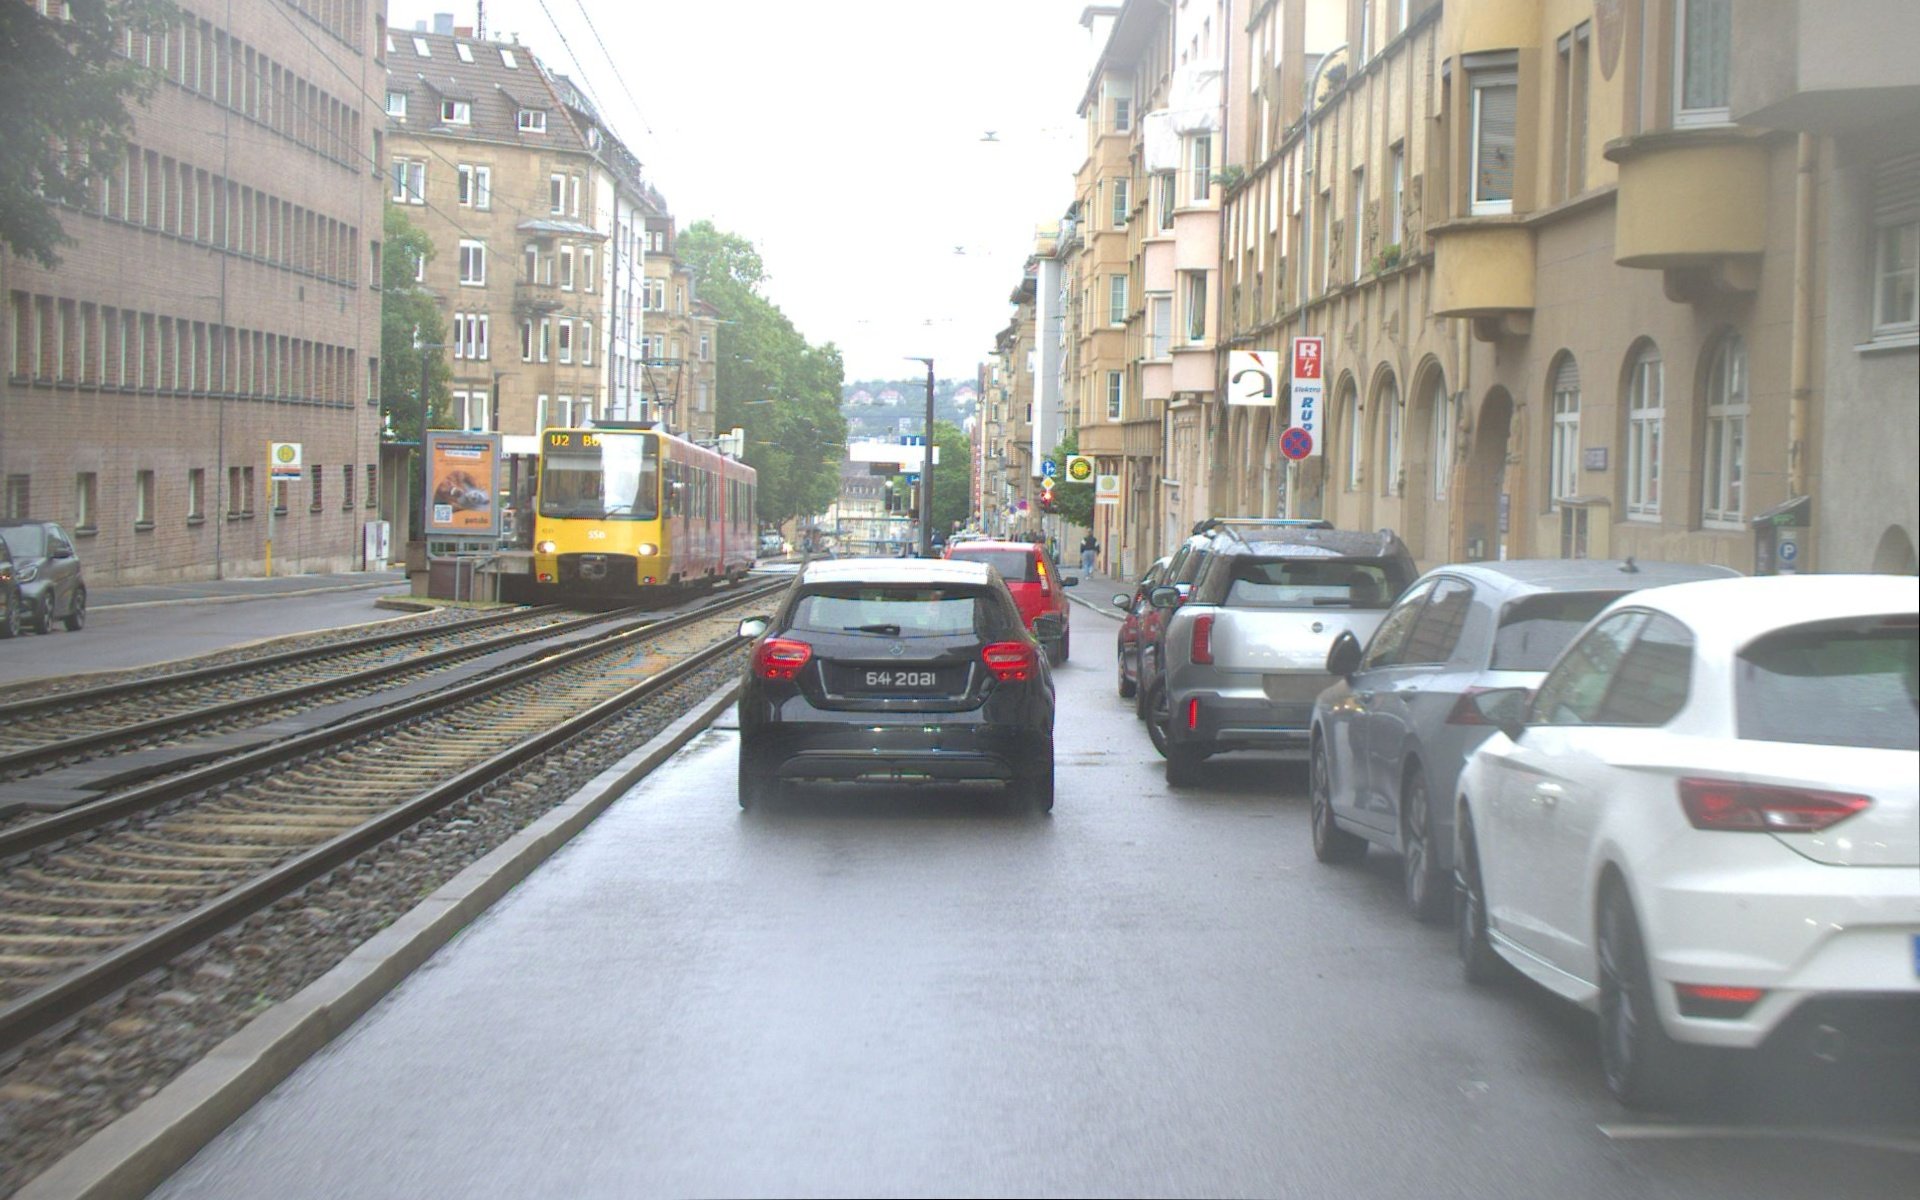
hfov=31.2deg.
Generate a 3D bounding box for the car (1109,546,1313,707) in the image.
[{"bbox_3d":[2.424,0.239,33.886,1.591,1.435,3.310,2,0,-2],"label":"car"}]

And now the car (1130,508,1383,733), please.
[{"bbox_3d":[2.440,0.147,29.266,1.778,1.744,4.548,1,0,1],"label":"car"}]

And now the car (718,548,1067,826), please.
[{"bbox_3d":[-0.360,0.439,20.263,1.834,1.448,3.902,1,1,0],"label":"car"}]

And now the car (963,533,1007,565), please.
[{"bbox_3d":[1.263,-2.548,172.855,2.134,1.520,4.245,2,1,0],"label":"car"}]

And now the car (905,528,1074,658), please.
[{"bbox_3d":[0.357,-0.115,43.765,1.993,1.520,4.245,2,1,0],"label":"car"}]

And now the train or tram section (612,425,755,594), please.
[{"bbox_3d":[-7.145,-2.350,90.824,2.745,4.048,15.662,1,1,-1],"label":"train or tram section"}]

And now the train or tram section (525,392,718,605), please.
[{"bbox_3d":[-7.102,-2.112,74.547,2.745,4.048,17.215,1,1,-1],"label":"train or tram section"}]

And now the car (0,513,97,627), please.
[{"bbox_3d":[-12.950,-0.437,47.017,1.572,1.461,3.045,2,1,-2],"label":"car"}]

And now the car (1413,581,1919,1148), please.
[{"bbox_3d":[2.605,0.643,10.617,1.789,1.381,4.395,1,0,0],"label":"car"}]

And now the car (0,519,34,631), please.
[{"bbox_3d":[-12.977,-0.327,43.254,1.666,1.410,3.688,2,1,-1],"label":"car"}]

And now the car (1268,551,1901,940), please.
[{"bbox_3d":[2.580,0.543,15.287,1.832,1.463,4.376,1,0,-2],"label":"car"}]

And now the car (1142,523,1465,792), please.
[{"bbox_3d":[2.205,0.336,23.210,1.841,1.602,4.760,1,0,2],"label":"car"}]
